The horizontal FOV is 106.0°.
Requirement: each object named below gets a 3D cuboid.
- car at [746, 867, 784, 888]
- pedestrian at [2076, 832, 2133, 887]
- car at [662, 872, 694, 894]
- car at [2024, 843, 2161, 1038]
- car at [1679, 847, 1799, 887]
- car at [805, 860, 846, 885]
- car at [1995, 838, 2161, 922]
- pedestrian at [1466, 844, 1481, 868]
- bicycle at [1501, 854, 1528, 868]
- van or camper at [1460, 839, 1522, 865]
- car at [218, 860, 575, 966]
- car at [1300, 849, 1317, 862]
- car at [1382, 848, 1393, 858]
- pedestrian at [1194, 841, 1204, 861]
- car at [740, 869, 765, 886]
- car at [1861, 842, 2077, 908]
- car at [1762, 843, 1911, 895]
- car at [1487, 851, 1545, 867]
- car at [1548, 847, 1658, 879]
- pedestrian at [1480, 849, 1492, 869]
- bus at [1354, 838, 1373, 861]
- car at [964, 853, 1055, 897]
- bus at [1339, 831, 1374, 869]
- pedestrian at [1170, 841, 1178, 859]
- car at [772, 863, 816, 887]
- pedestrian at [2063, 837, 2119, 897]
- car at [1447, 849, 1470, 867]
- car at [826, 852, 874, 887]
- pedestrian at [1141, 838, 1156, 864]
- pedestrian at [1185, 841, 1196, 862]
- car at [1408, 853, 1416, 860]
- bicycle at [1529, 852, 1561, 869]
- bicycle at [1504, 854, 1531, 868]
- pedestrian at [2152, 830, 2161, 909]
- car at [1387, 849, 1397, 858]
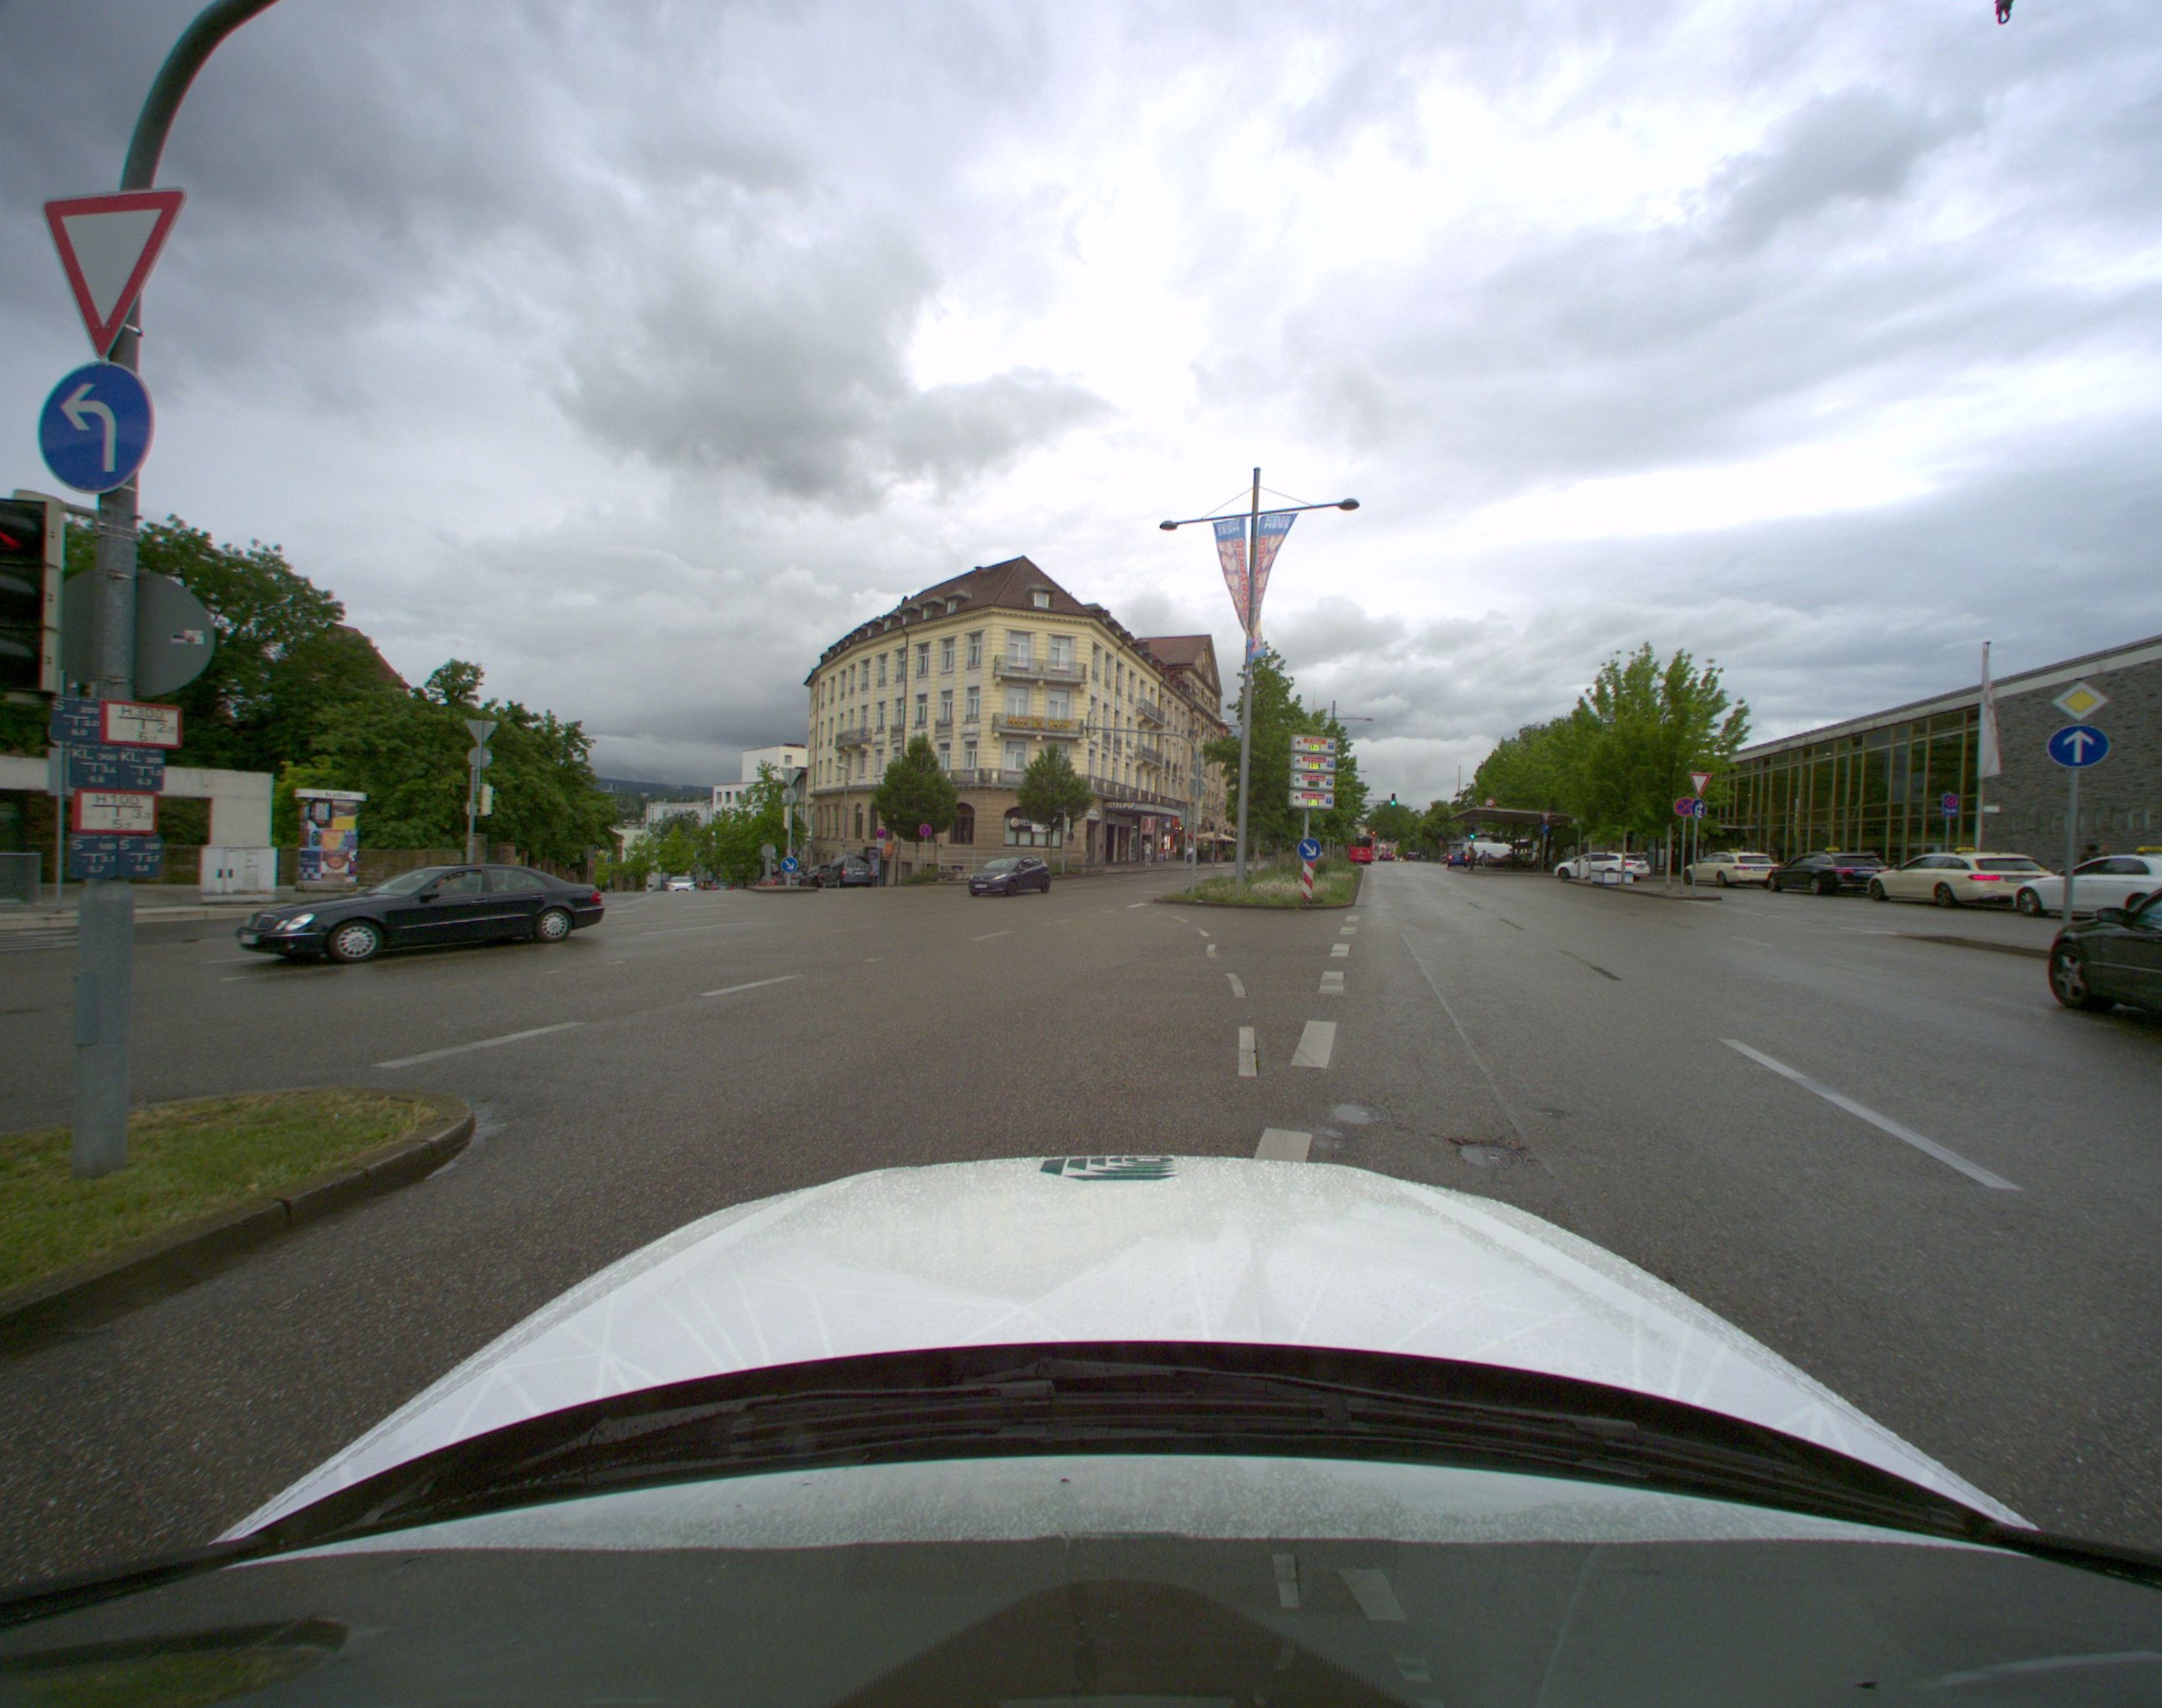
[{"bbox_3d":[-22.921,1.671,58.995,1.777,1.478,3.967,0,0,-34],"label":"car"},{"bbox_3d":[30.223,0.170,24.057,0.762,1.580,0.714,-1,-1,16],"label":"pedestrian"},{"bbox_3d":[-29.135,2.070,58.819,1.641,1.398,3.958,0,0,-33],"label":"car"},{"bbox_3d":[8.832,0.640,5.713,1.678,1.465,4.480,-1,0,33],"label":"car"},{"bbox_3d":[27.901,0.499,34.790,1.980,1.599,4.975,-1,0,12],"label":"car"},{"bbox_3d":[-15.747,1.093,50.077,1.640,1.398,3.962,0,1,-30],"label":"car"},{"bbox_3d":[22.236,0.494,17.143,1.864,1.599,4.927,-1,0,20],"label":"car"},{"bbox_3d":[28.335,0.138,58.798,0.741,1.747,0.839,0,-1,12],"label":"pedestrian"},{"bbox_3d":[33.060,0.545,62.082,1.820,1.056,0.420,0,-1,2],"label":"bicycle"},{"bbox_3d":[45.557,-0.244,90.492,5.941,2.763,2.193,0,0,-7],"label":"van or camper"},{"bbox_3d":[-10.902,0.834,13.348,1.938,1.422,4.023,-1,0,25],"label":"car"},{"bbox_3d":[36.081,0.188,129.136,1.976,2.014,5.027,-1,0,22],"label":"car"},{"bbox_3d":[60.332,-0.171,160.496,1.977,2.014,4.020,-1,0,20],"label":"car"},{"bbox_3d":[9.773,-0.246,67.595,0.676,1.664,0.811,-1,-1,20],"label":"pedestrian"},{"bbox_3d":[-31.259,2.244,77.504,1.775,1.478,3.963,0,0,-29],"label":"car"},{"bbox_3d":[24.209,0.506,22.527,1.977,1.599,4.983,-1,0,20],"label":"car"},{"bbox_3d":[26.222,0.454,28.530,1.977,1.599,4.982,1,1,19],"label":"car"},{"bbox_3d":[38.070,0.443,71.325,4.171,1.325,1.840,1,0,0],"label":"car"},{"bbox_3d":[26.917,0.451,42.196,1.763,1.546,4.746,1,0,-19],"label":"car"},{"bbox_3d":[37.154,0.444,74.689,0.849,1.835,1.196,0,-1,20],"label":"pedestrian"},{"bbox_3d":[49.764,-0.745,143.638,2.783,3.747,10.493,-2,-1,18],"label":"bus"},{"bbox_3d":[-2.553,0.741,29.989,1.662,1.512,3.884,-1,0,23],"label":"car"},{"bbox_3d":[31.159,-0.398,92.148,3.516,3.979,11.224,-1,0,18],"label":"bus"},{"bbox_3d":[8.415,-0.352,73.787,0.662,1.664,0.538,-1,-1,11],"label":"pedestrian"},{"bbox_3d":[-19.119,1.377,54.177,1.777,1.478,3.957,0,0,-34],"label":"car"},{"bbox_3d":[27.671,0.350,22.308,0.724,1.626,0.791,0,-1,-24],"label":"pedestrian"},{"bbox_3d":[35.067,0.384,75.734,1.842,1.569,4.022,1,0,24],"label":"car"},{"bbox_3d":[-12.634,0.806,44.482,1.640,1.759,3.962,0,1,-30],"label":"car"},{"bbox_3d":[4.854,-0.193,58.385,0.872,1.813,0.754,-1,-1,20],"label":"pedestrian"},{"bbox_3d":[9.145,-0.202,67.934,0.675,1.664,0.811,-1,-1,23],"label":"pedestrian"},{"bbox_3d":[79.180,0.623,194.660,1.581,1.560,3.668,-1,0,20],"label":"car"},{"bbox_3d":[30.459,0.431,53.471,1.812,1.056,0.422,-1,-1,19],"label":"bicycle"},{"bbox_3d":[33.010,0.545,61.622,1.820,1.056,0.420,0,-1,2],"label":"bicycle"},{"bbox_3d":[30.133,0.418,22.222,0.791,2.164,0.724,0,-1,6],"label":"pedestrian"},{"bbox_3d":[66.654,-0.089,174.536,1.977,2.014,4.020,-1,0,20],"label":"car"}]
